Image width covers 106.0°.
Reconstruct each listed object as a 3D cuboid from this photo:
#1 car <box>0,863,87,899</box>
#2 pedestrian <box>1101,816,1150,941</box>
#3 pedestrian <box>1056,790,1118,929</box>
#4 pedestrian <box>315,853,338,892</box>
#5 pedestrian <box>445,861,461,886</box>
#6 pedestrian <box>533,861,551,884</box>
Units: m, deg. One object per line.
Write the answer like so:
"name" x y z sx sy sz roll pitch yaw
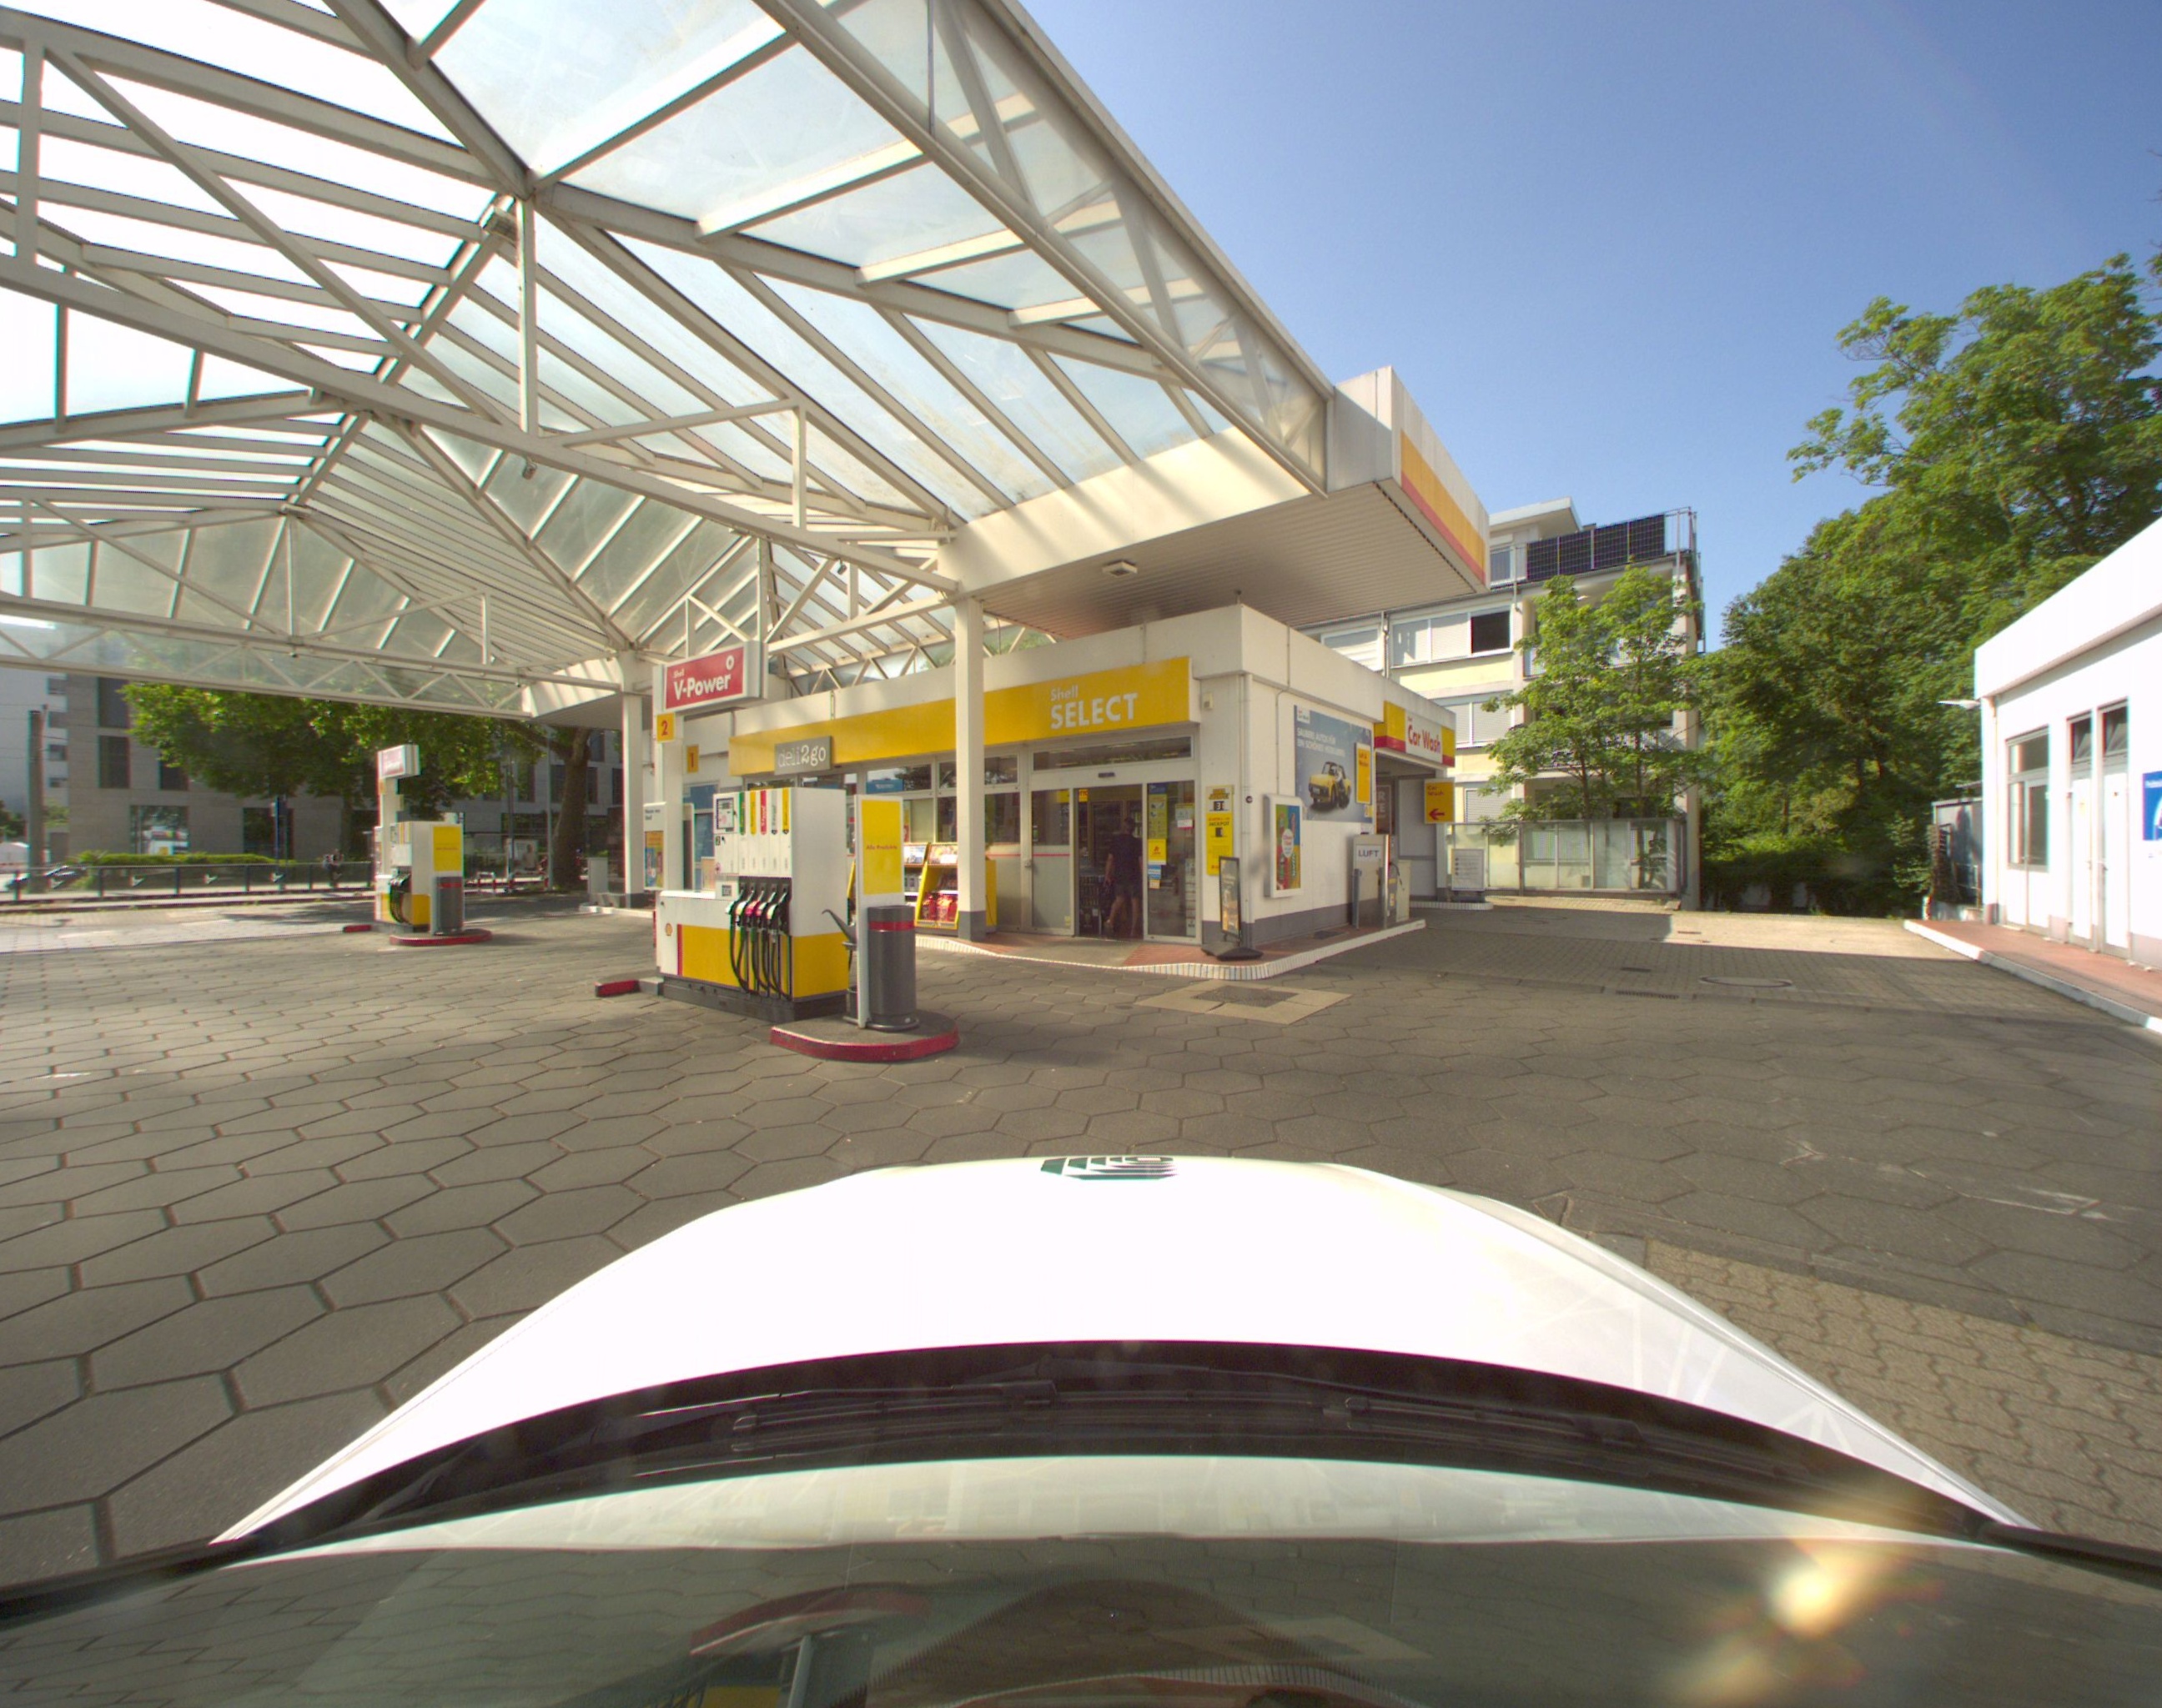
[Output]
"car" -49.307 1.244 37.673 1.681 1.552 4.026 -1 1 33
"pedestrian" 0.650 0.340 11.787 0.567 1.762 0.533 -1 0 17
"pedestrian" 0.102 0.080 12.266 0.615 2.013 0.747 -1 0 29
"pedestrian" -31.711 0.773 34.218 0.661 1.591 0.589 1 1 37
"pedestrian" -29.128 0.908 37.757 0.517 1.138 0.503 -1 0 44
"pedestrian" -26.930 0.914 40.683 0.517 1.138 0.634 -1 0 44
